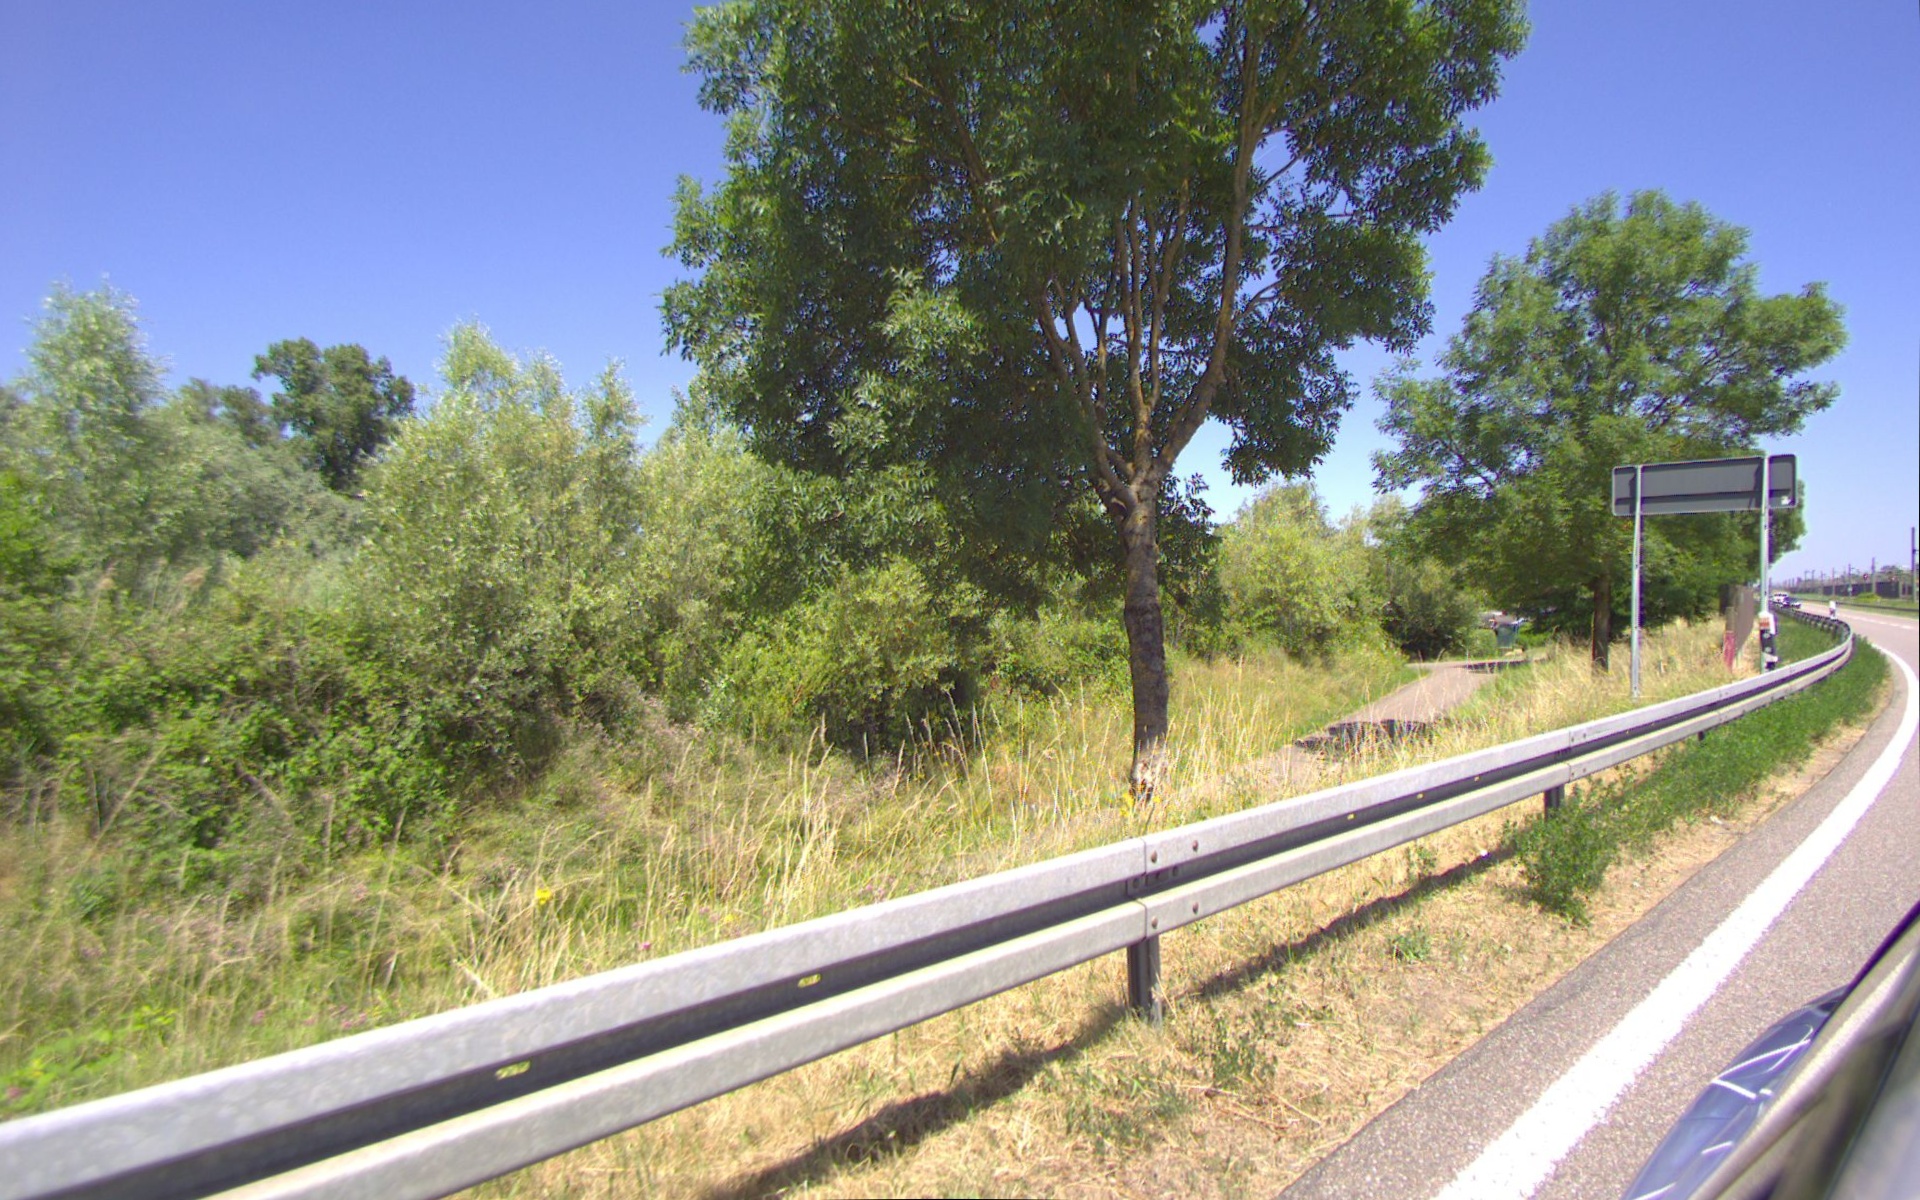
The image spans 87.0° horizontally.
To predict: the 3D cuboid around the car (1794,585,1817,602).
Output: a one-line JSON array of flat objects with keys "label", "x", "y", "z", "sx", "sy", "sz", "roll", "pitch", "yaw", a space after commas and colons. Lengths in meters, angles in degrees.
[{"label": "car", "x": 101.857, "y": -0.778, "z": 121.903, "sx": 1.992, "sy": 2.039, "sz": 3.940, "roll": 1, "pitch": 1, "yaw": 41}]
